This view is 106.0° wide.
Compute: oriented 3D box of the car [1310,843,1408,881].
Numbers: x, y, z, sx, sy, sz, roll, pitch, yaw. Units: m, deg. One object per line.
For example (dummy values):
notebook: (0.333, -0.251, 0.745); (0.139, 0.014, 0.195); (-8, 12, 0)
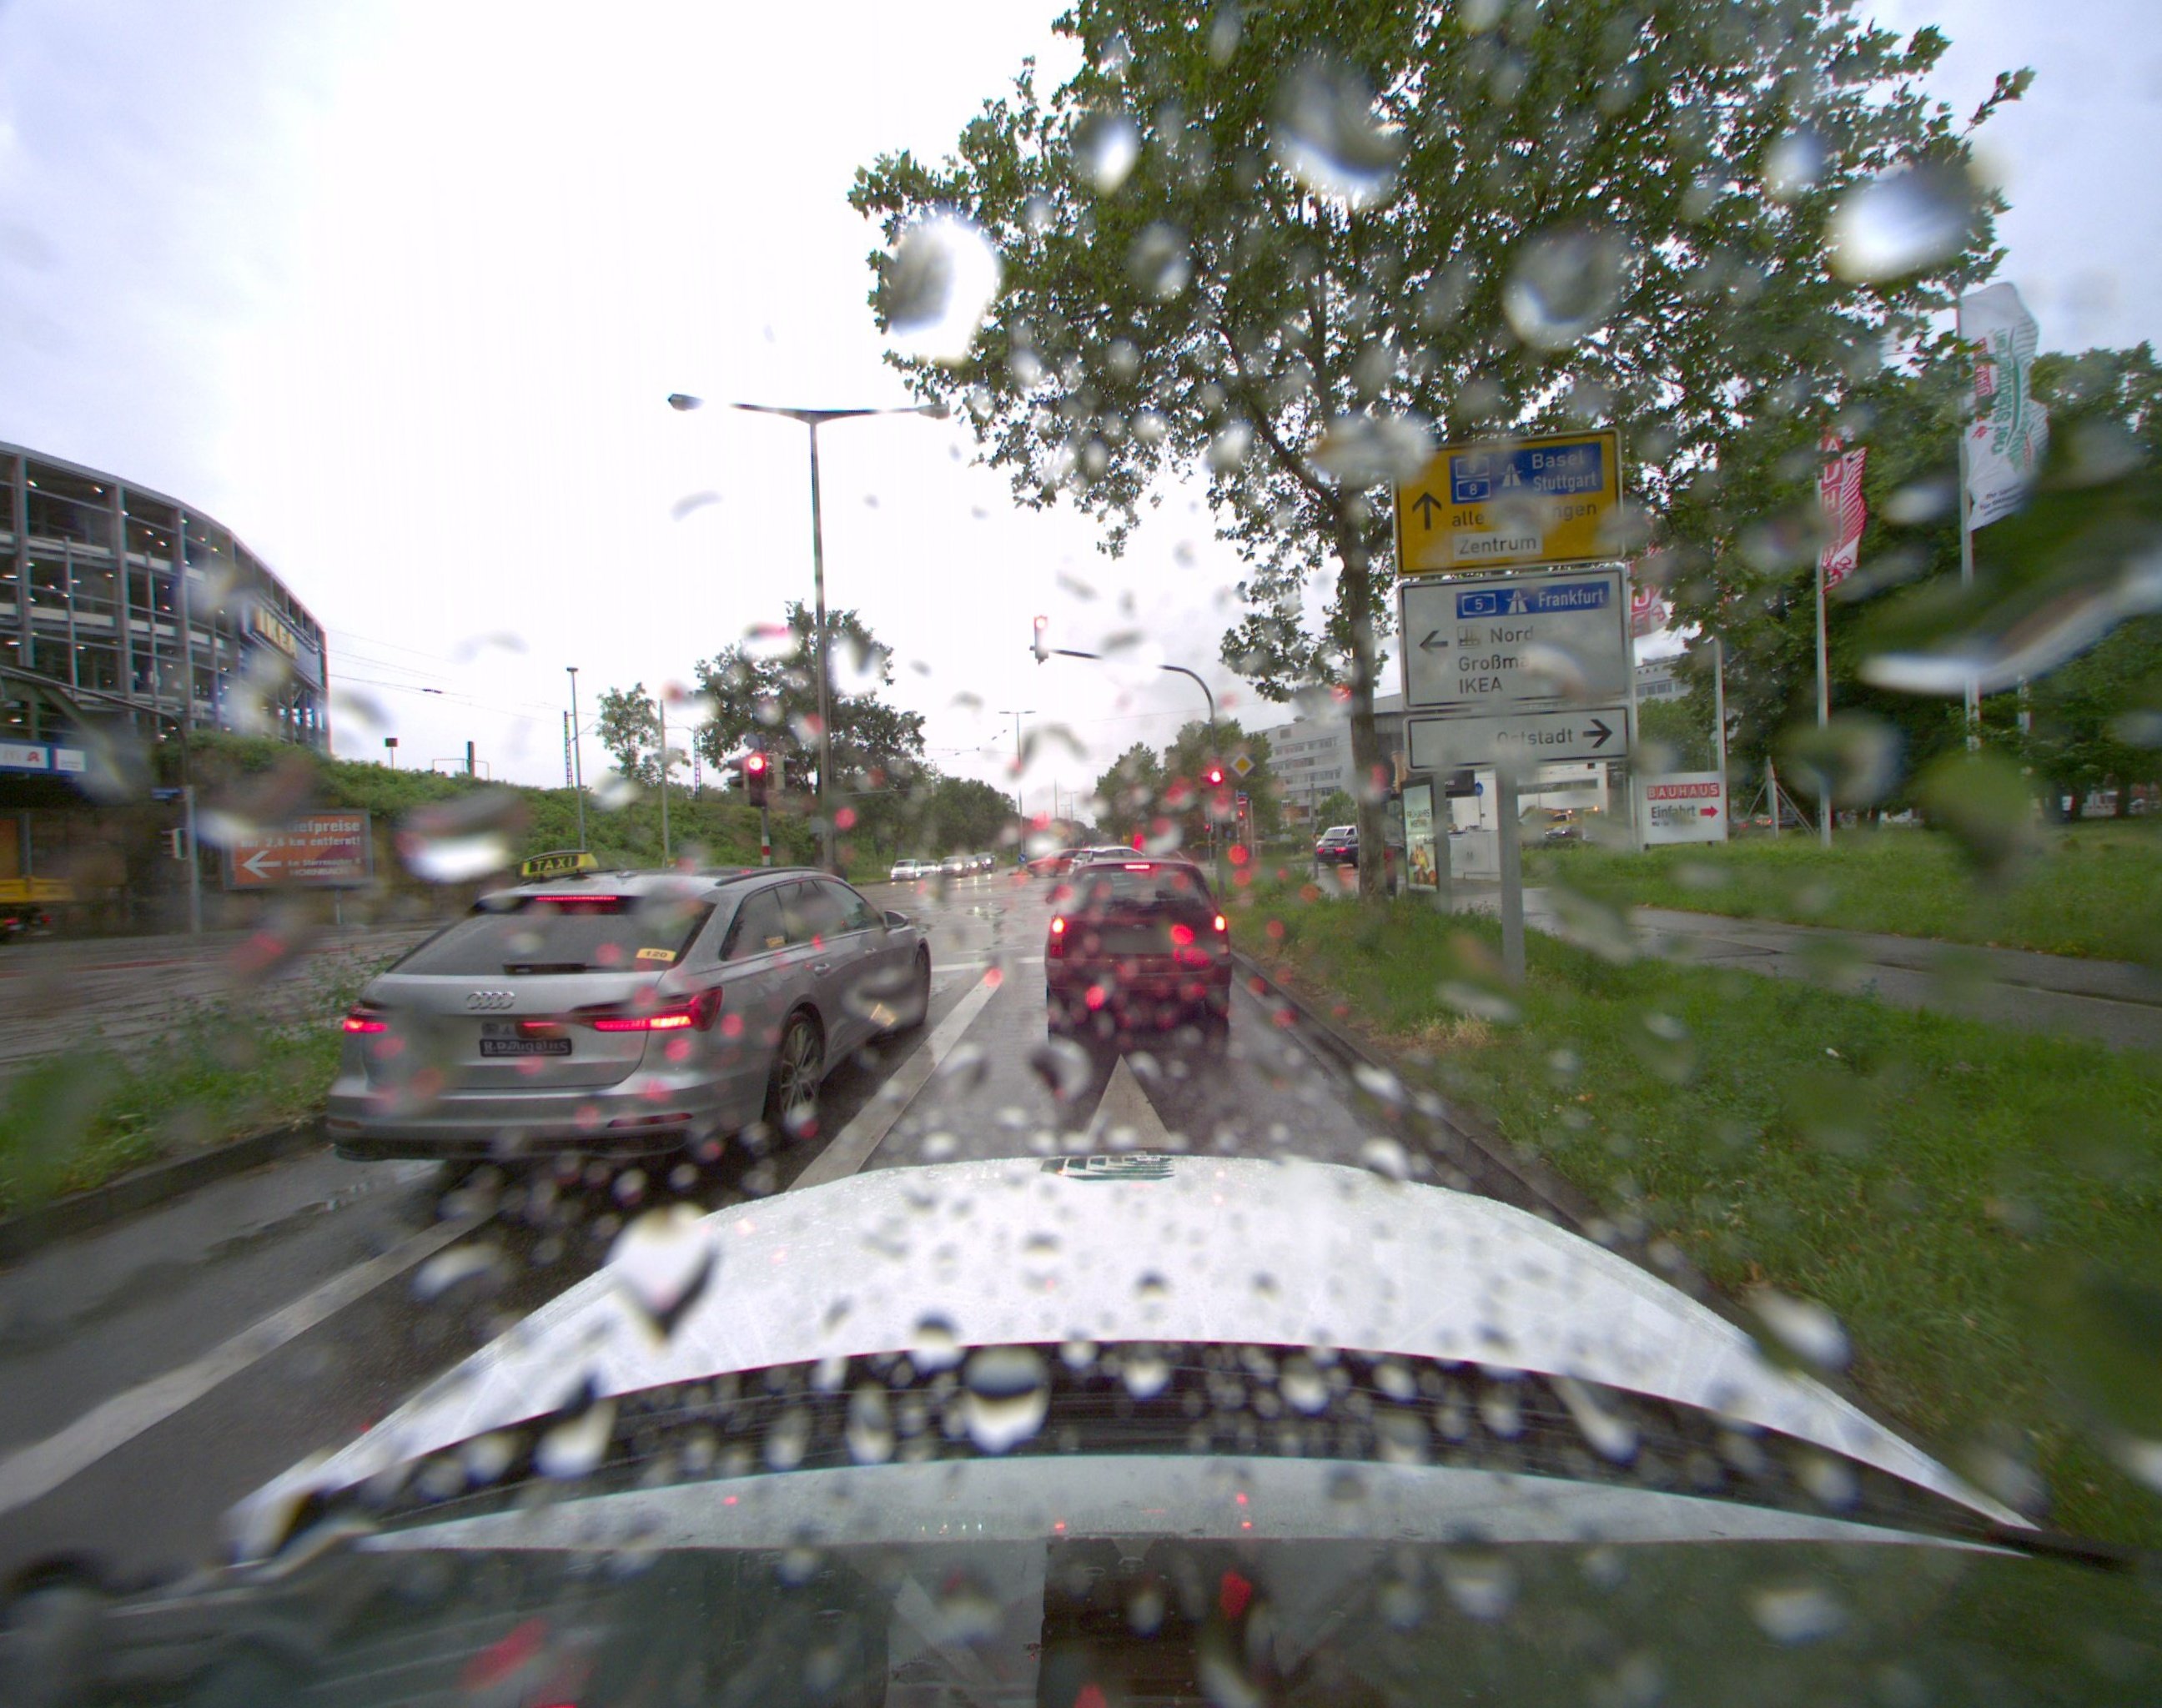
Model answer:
car: (12.951, 0.365, 37.904); (4.398, 1.537, 1.786); (-3, 0, -28)

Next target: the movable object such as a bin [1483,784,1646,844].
movable object such as a bin: (58.461, -4.520, 99.151); (8.296, 6.283, 14.818); (0, -1, -32)

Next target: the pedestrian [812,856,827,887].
pedestrian: (-15.010, 1.009, 46.722); (0.528, 1.786, 0.676); (-1, -1, 19)

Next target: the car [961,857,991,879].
car: (-8.208, 1.074, 64.028); (1.706, 1.530, 4.002); (-3, 0, 2)

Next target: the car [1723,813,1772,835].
car: (52.946, -2.380, 64.656); (4.405, 1.537, 1.783); (-3, 0, -34)

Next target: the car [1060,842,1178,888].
car: (1.476, 0.399, 31.241); (4.076, 1.521, 1.981); (-2, 0, -30)

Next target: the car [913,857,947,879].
car: (-11.533, 1.074, 62.521); (1.706, 1.530, 4.002); (-3, 0, 2)

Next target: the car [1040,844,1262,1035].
car: (0.642, 0.696, 8.835); (1.789, 1.537, 4.389); (-1, 0, 2)

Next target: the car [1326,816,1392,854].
car: (18.743, -1.280, 54.887); (4.405, 2.190, 1.783); (-5, 1, -33)

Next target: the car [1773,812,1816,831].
car: (62.812, -2.842, 71.696); (4.405, 1.537, 1.783); (-3, 0, -35)

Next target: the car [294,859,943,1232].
car: (-2.262, 0.792, 5.579); (1.684, 1.433, 4.576); (-2, 0, 2)

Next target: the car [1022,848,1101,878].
car: (-1.024, 0.503, 44.330); (4.018, 1.429, 1.699); (-3, 0, -36)

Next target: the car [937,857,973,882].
car: (-8.816, 1.058, 57.133); (1.706, 1.530, 4.002); (-3, 0, 2)

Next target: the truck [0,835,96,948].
truck: (-32.127, 1.150, 21.632); (7.080, 3.054, 2.618); (-2, 0, -36)

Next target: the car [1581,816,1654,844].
car: (32.689, -1.463, 49.635); (4.398, 1.537, 1.786); (-3, 0, -28)

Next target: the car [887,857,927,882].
car: (-11.916, 1.020, 55.987); (1.706, 1.530, 4.002); (-3, 0, 2)

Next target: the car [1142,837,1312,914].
car: (3.827, 0.489, 20.998); (4.409, 1.537, 1.781); (-5, 3, -38)

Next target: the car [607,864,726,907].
car: (-16.657, 1.239, 32.793); (4.019, 1.486, 1.798); (-2, 0, -37)

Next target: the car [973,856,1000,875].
car: (-8.296, 0.954, 71.511); (1.706, 1.530, 4.002); (-3, 0, 2)
